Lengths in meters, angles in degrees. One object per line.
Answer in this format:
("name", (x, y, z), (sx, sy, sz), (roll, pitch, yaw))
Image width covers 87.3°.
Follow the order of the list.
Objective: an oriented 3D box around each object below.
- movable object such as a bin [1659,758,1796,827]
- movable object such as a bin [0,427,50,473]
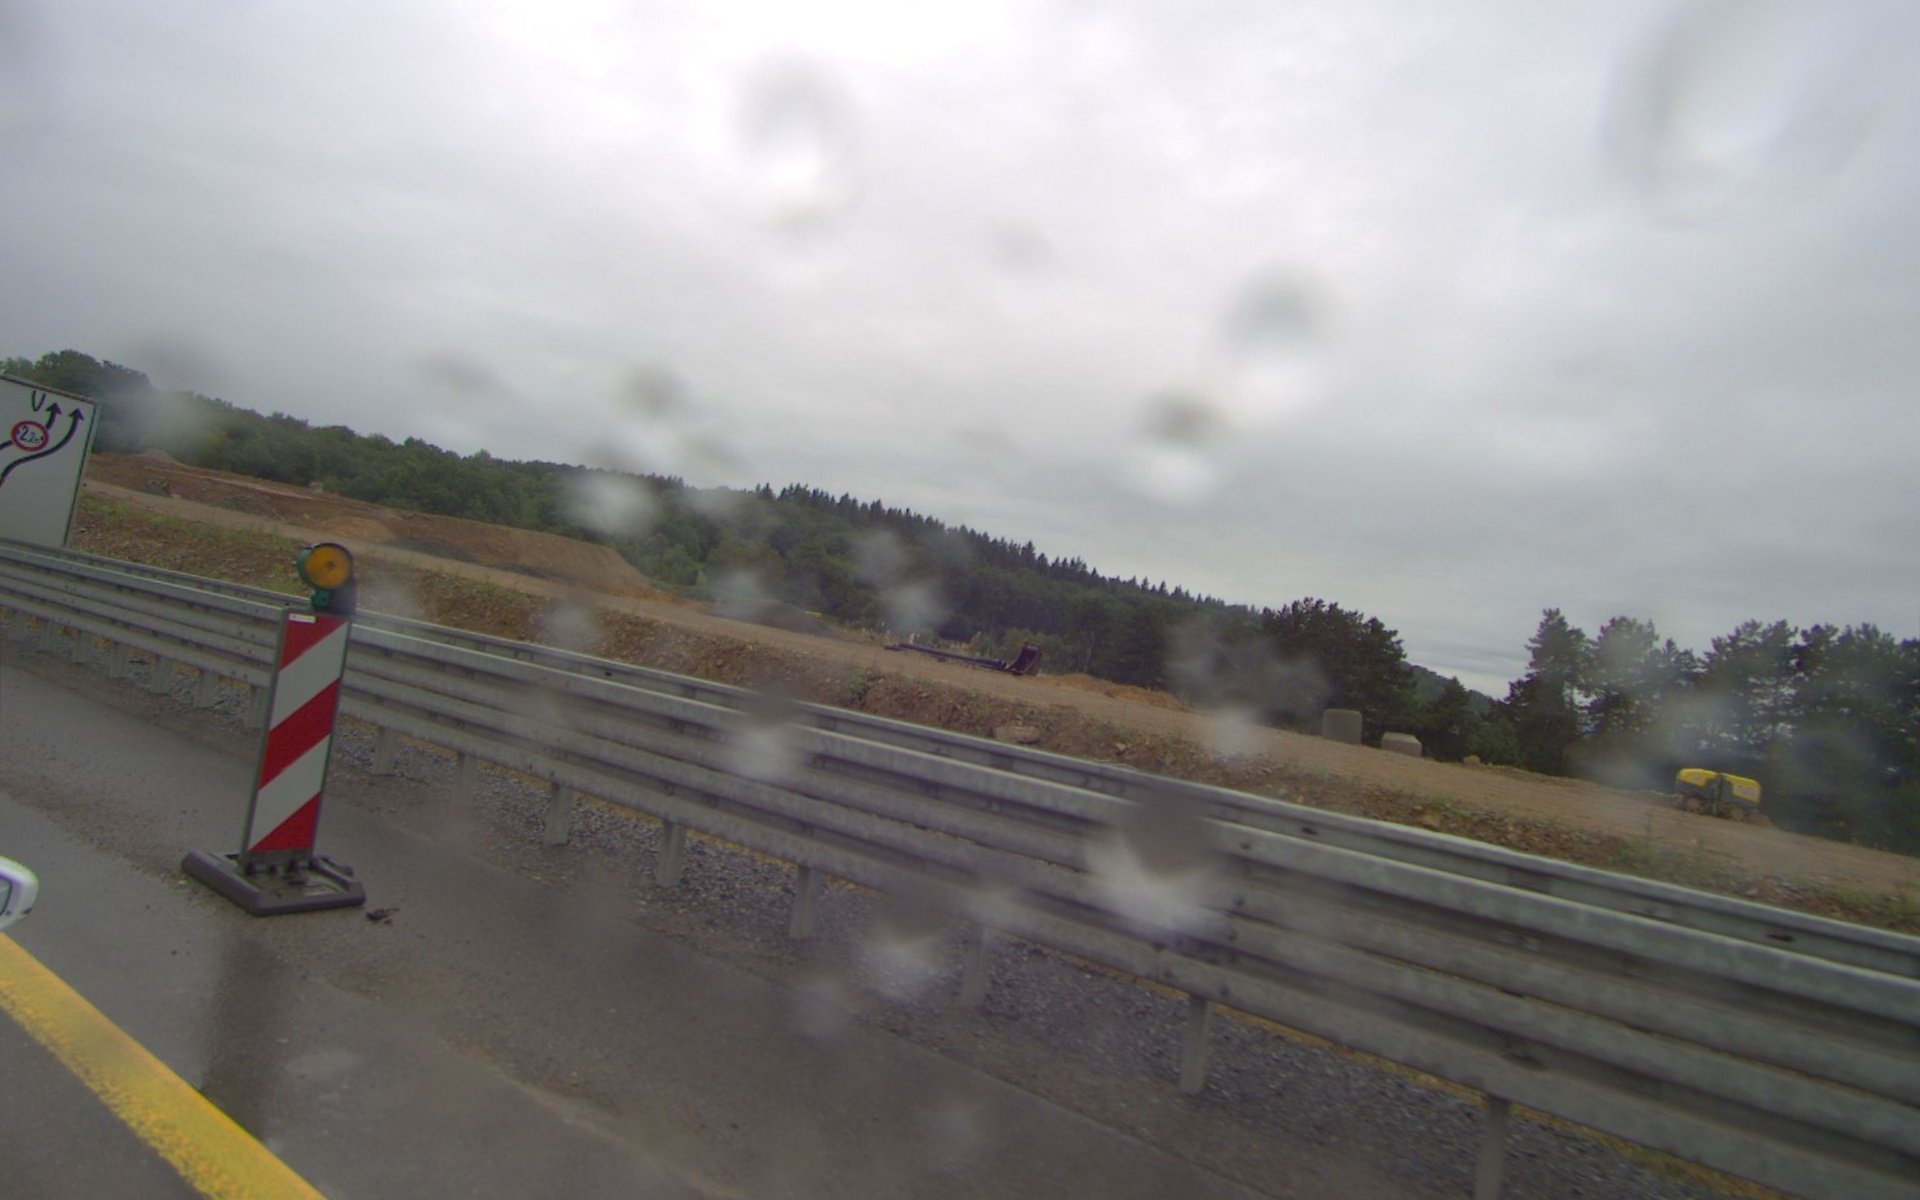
("movable object such as a bin", (21.155, 5.283, 27.838), (2.659, 1.316, 1.392), (7, -2, 27))
("movable object such as a bin", (-88.989, -14.208, 94.856), (6.446, 3.641, 2.347), (7, -1, 28))
